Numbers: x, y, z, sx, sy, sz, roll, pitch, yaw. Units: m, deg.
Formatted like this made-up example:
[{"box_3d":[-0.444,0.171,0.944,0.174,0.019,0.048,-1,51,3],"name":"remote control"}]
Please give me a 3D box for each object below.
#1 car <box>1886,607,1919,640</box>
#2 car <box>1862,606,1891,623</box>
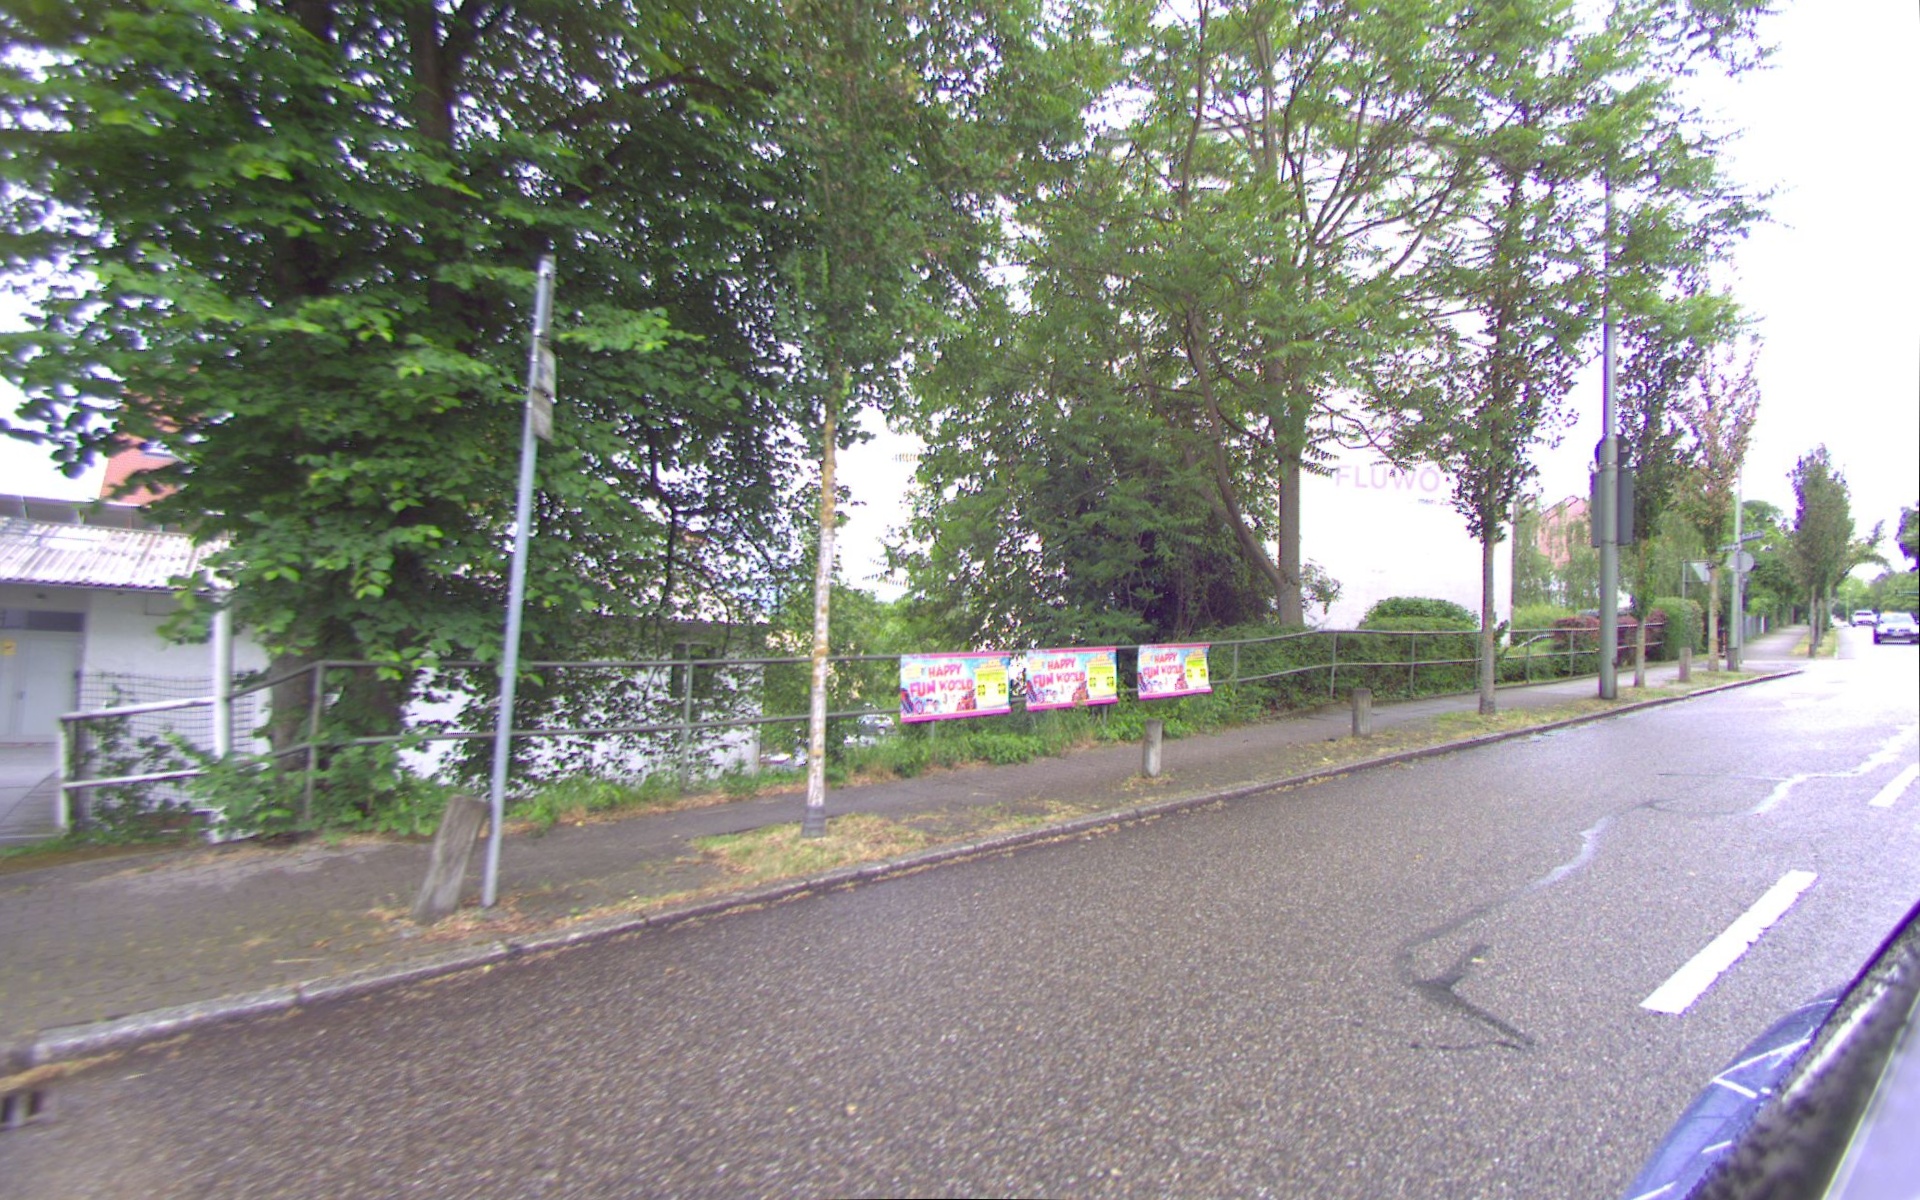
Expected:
[{"box_3d":[51.750,1.261,54.914,4.219,1.638,1.832,-1,0,-42],"name":"car"},{"box_3d":[92.025,1.463,101.593,4.278,1.638,1.831,-1,0,-43],"name":"car"}]
